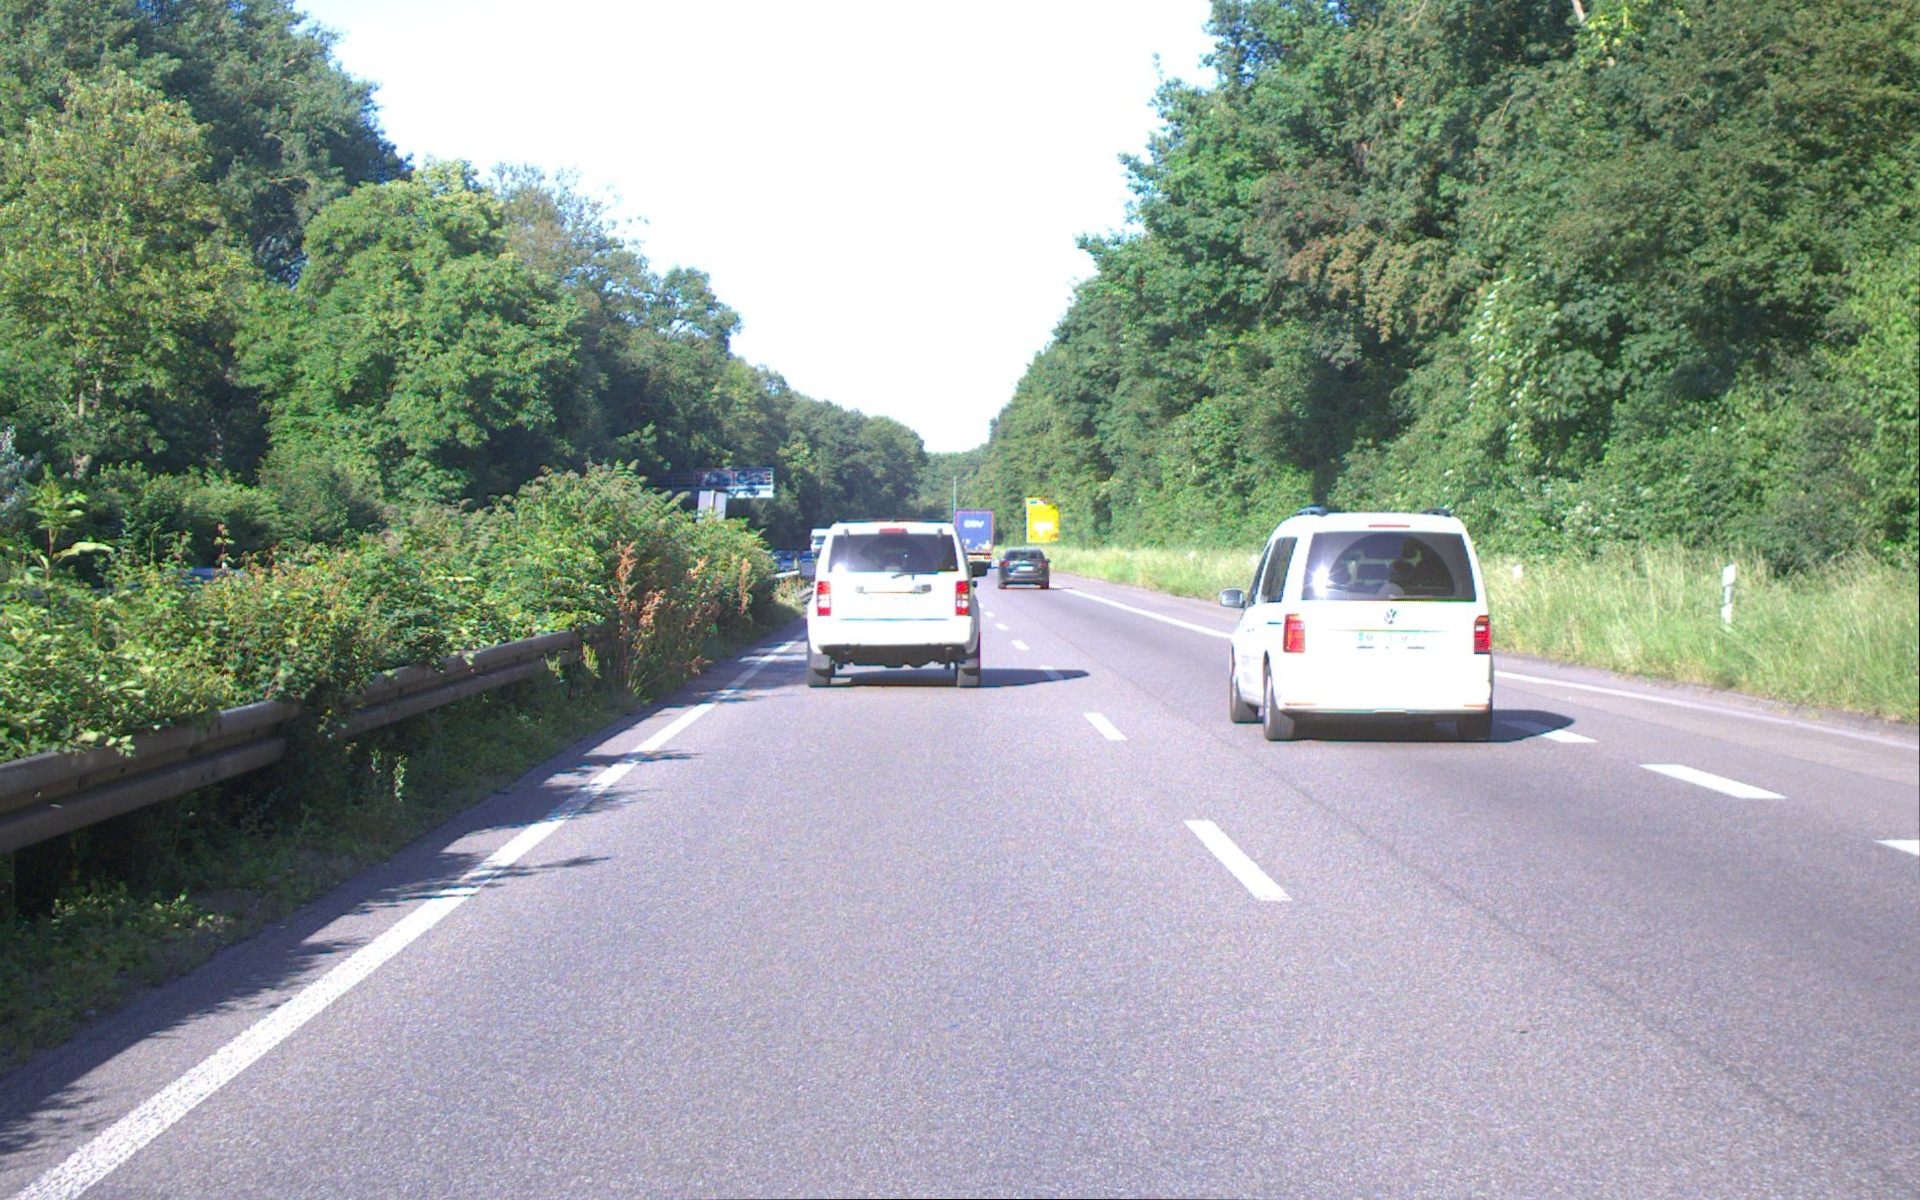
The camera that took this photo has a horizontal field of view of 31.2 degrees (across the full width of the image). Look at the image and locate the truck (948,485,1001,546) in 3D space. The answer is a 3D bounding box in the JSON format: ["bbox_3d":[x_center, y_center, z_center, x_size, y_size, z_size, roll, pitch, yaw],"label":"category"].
[{"bbox_3d":[0.995,-5.864,240.995,3.496,4.158,8.862,-1,1,-1],"label":"truck"}]

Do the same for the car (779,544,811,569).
[{"bbox_3d":[-10.450,-2.771,217.822,1.877,1.535,4.465,-1,1,-1],"label":"car"}]

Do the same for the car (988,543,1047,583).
[{"bbox_3d":[2.053,-1.354,123.816,1.993,1.393,4.000,0,1,-1],"label":"car"}]

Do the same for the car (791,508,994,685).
[{"bbox_3d":[-0.785,-0.069,37.381,2.085,1.822,4.001,0,1,-3],"label":"car"}]

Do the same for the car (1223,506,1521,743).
[{"bbox_3d":[3.271,0.141,28.107,1.863,1.764,4.470,0,1,0],"label":"car"}]

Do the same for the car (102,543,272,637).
[{"bbox_3d":[-12.629,-0.190,56.395,1.960,1.445,4.507,-1,1,-3],"label":"car"}]
